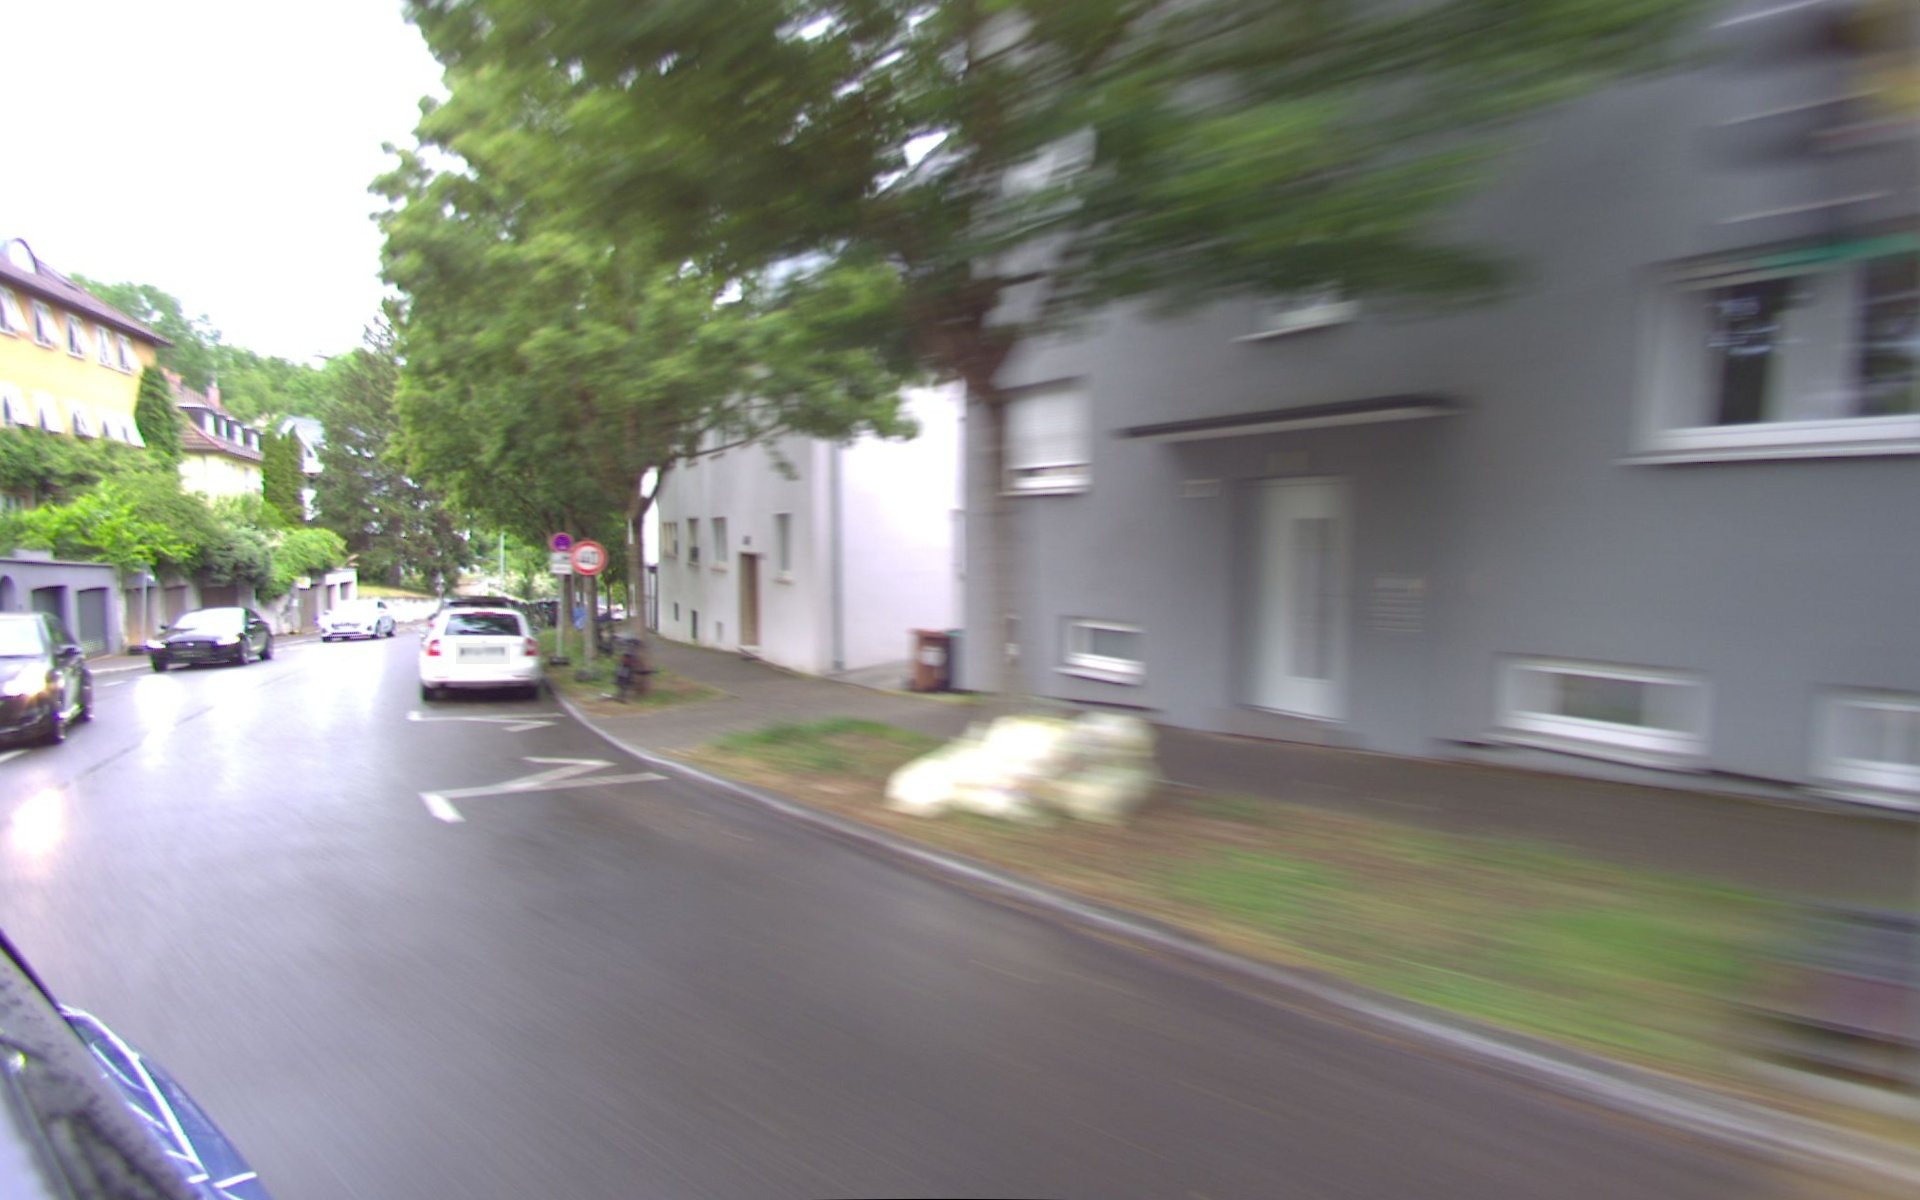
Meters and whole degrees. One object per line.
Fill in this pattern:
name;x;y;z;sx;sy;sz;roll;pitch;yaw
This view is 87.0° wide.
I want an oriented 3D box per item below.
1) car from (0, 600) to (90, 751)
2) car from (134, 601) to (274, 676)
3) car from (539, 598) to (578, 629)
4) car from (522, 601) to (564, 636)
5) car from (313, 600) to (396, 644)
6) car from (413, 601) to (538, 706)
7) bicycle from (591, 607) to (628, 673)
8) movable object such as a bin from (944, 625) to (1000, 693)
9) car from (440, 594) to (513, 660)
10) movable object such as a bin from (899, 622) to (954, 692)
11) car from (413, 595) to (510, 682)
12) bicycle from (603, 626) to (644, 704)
car;-10.998;0.774;11.275;1.553;1.463;3.596;-2;2;-34
car;-18.511;0.897;24.984;1.778;1.499;4.030;-6;2;-23
car;-23.813;0.763;60.147;1.571;1.671;3.934;4;-1;-15
car;-22.525;0.983;54.802;1.595;1.671;3.936;3;0;-16
car;-24.533;0.832;41.166;1.979;1.674;4.459;0;0;-19
car;-8.149;0.793;16.999;1.658;1.520;4.330;0;-1;-26
bicycle;-7.225;0.797;20.897;0.610;1.261;1.911;-1;0;-17
movable object such as a bin;0.169;0.866;15.057;0.646;0.958;0.646;-1;0;-16
car;-13.138;0.681;27.419;1.610;1.576;3.861;2;0;-27
movable object such as a bin;-0.497;0.824;14.881;0.646;0.958;0.646;-1;0;-16
car;-10.492;0.737;21.371;1.658;1.621;4.591;0;0;-26
bicycle;-5.022;0.933;15.152;0.429;1.037;1.911;-1;0;-15
